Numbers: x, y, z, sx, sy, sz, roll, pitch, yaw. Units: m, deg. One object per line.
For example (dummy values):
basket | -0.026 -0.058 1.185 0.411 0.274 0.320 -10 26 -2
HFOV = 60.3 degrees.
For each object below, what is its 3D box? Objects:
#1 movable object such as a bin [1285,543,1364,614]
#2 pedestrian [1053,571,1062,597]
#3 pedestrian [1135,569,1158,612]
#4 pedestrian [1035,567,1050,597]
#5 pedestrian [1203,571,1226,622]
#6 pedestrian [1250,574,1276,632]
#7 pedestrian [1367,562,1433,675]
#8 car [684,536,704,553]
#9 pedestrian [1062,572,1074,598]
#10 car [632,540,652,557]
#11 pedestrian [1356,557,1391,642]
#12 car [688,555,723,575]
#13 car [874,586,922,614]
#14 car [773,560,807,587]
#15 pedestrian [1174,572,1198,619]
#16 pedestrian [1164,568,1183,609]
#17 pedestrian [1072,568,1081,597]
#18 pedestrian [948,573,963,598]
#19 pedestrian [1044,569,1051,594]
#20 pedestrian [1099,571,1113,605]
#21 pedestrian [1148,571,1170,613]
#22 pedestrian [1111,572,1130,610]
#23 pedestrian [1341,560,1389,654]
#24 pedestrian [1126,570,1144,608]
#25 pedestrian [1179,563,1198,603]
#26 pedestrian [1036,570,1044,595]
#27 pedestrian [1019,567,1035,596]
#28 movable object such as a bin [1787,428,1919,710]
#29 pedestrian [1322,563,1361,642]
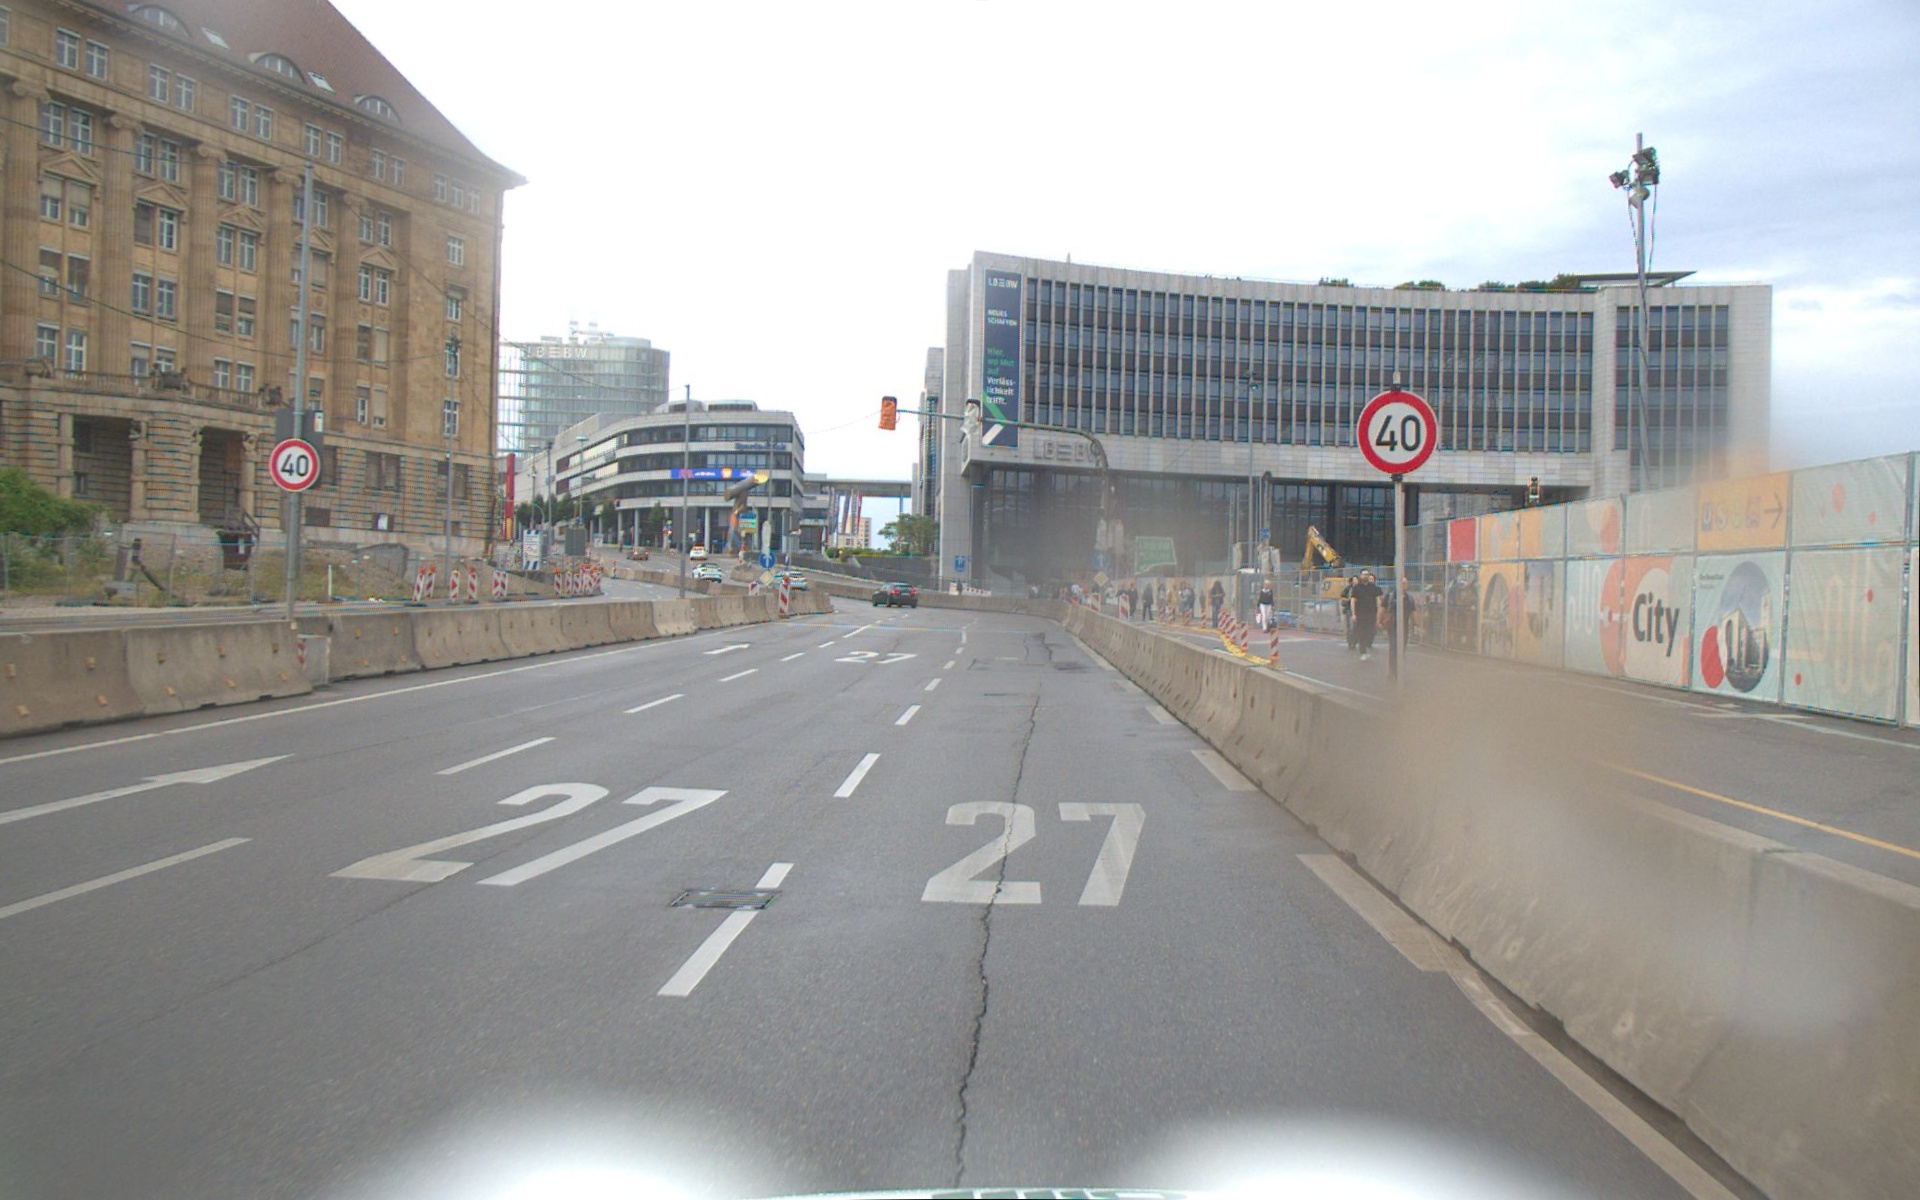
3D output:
movable object such as a bin | 21.876 -1.311 99.302 3.044 4.100 3.672 1 1 -23
pedestrian | 6.595 -1.101 111.849 0.438 1.734 0.647 2 1 9
pedestrian | 8.289 -0.428 73.496 0.852 1.894 0.948 1 1 -3
pedestrian | 4.781 -1.050 96.061 0.647 1.670 0.821 1 1 -12
pedestrian | 9.688 -0.129 62.986 0.676 1.894 0.811 1 1 -3
pedestrian | 9.993 0.090 54.562 0.651 1.894 0.682 1 1 -3
pedestrian | 7.389 0.304 27.780 0.906 1.865 0.686 1 0 2
car | -30.416 -6.380 189.259 1.959 1.835 4.252 1 2 -13
pedestrian | 7.208 -0.992 109.965 0.507 1.734 0.567 1 1 -37
car | -35.586 -5.757 185.131 1.959 1.835 4.252 1 2 -13
pedestrian | 10.076 -0.023 40.344 0.665 2.048 0.687 1 2 2
car | -20.220 -2.814 131.338 1.719 1.532 3.725 1 1 -25
car | -3.641 0.002 96.464 1.651 1.534 3.720 2 -2 -22
car | -12.362 -1.950 120.191 1.712 1.908 3.758 1 1 -19
pedestrian | 9.125 -0.189 66.851 0.763 1.894 0.949 1 1 -3
pedestrian | 9.925 -0.544 76.842 0.718 1.886 0.831 1 0 -1
pedestrian | 7.636 -1.136 108.180 0.518 1.850 0.536 2 1 0
pedestrian | -0.307 -1.108 122.445 0.745 1.821 1.051 1 0 -21
pedestrian | 6.266 -1.337 118.383 0.439 1.734 0.646 1 1 -4
pedestrian | 8.806 -0.734 99.741 0.767 2.048 0.863 2 1 7
pedestrian | 9.070 -0.377 75.283 0.763 1.894 1.058 1 1 -3
pedestrian | 7.891 -0.449 81.348 0.802 1.859 1.111 0 0 -2
pedestrian | 8.385 0.143 34.255 0.779 1.910 0.820 1 0 2
pedestrian | 8.711 -0.554 82.381 0.763 1.894 0.811 1 1 -3
pedestrian | 10.997 -0.830 79.525 0.763 1.894 0.811 0 1 -3
pedestrian | 5.710 -1.271 118.324 0.444 1.734 0.646 1 1 -4
pedestrian | 3.899 -1.091 95.866 0.737 1.670 0.821 1 1 -12
movable object such as a bin | 13.989 -0.398 21.912 3.848 3.553 4.356 0 1 0
pedestrian | 9.212 0.055 39.954 0.779 1.865 0.626 1 0 2
